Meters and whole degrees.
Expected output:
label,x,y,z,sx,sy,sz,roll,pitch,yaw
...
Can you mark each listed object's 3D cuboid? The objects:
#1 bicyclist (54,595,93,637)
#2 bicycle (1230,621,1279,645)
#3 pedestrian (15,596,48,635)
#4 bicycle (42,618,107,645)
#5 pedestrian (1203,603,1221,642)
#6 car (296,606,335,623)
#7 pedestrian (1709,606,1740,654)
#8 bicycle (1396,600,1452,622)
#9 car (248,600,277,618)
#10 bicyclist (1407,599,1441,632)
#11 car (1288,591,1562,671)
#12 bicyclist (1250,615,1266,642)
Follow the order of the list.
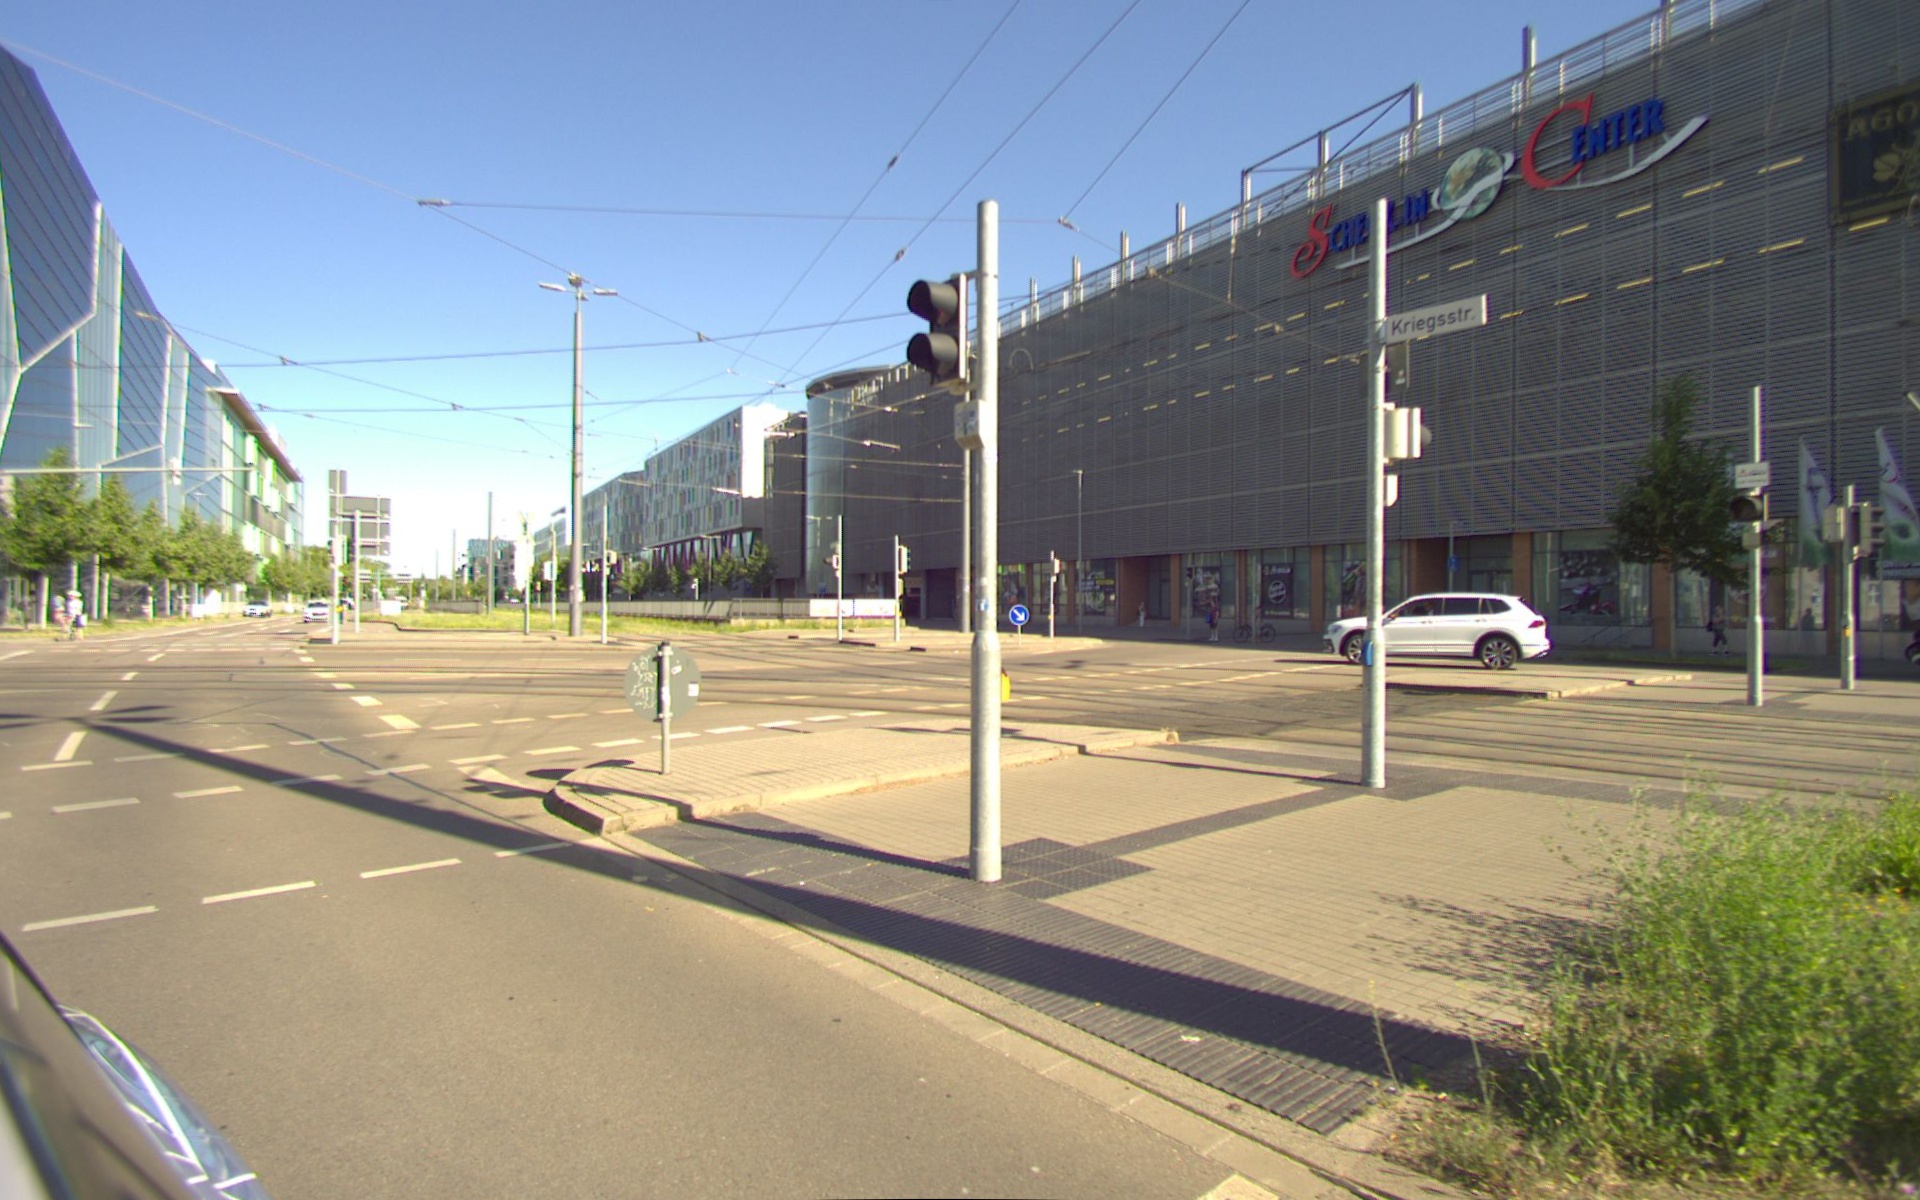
label,x,y,z,sx,sy,sz,roll,pitch,yaw
bicyclist,-30.319,0.557,34.612,0.749,1.420,0.774,0,0,-19
bicycle,12.694,1.428,43.641,2.010,0.993,0.555,0,-1,26
pedestrian,-38.364,0.632,41.818,0.842,1.567,0.615,0,0,-26
bicycle,-30.369,1.067,34.755,0.757,0.846,2.576,0,0,-19
pedestrian,11.415,1.008,45.844,0.625,1.764,0.581,0,-1,40
car,-42.093,0.945,66.175,1.966,1.098,4.012,0,0,-30
pedestrian,24.752,0.950,32.761,0.482,1.530,0.651,0,-1,-27
bicycle,18.783,0.442,41.006,0.671,0.874,2.054,0,0,-32
car,-67.932,0.904,98.596,1.966,1.741,4.012,0,-1,-30
bicyclist,18.799,0.636,41.006,0.671,1.328,1.042,0,-1,-32
car,10.496,0.647,23.134,5.521,1.664,1.797,0,-1,28
bicyclist,12.833,1.219,43.559,0.560,1.148,0.555,0,-1,26
